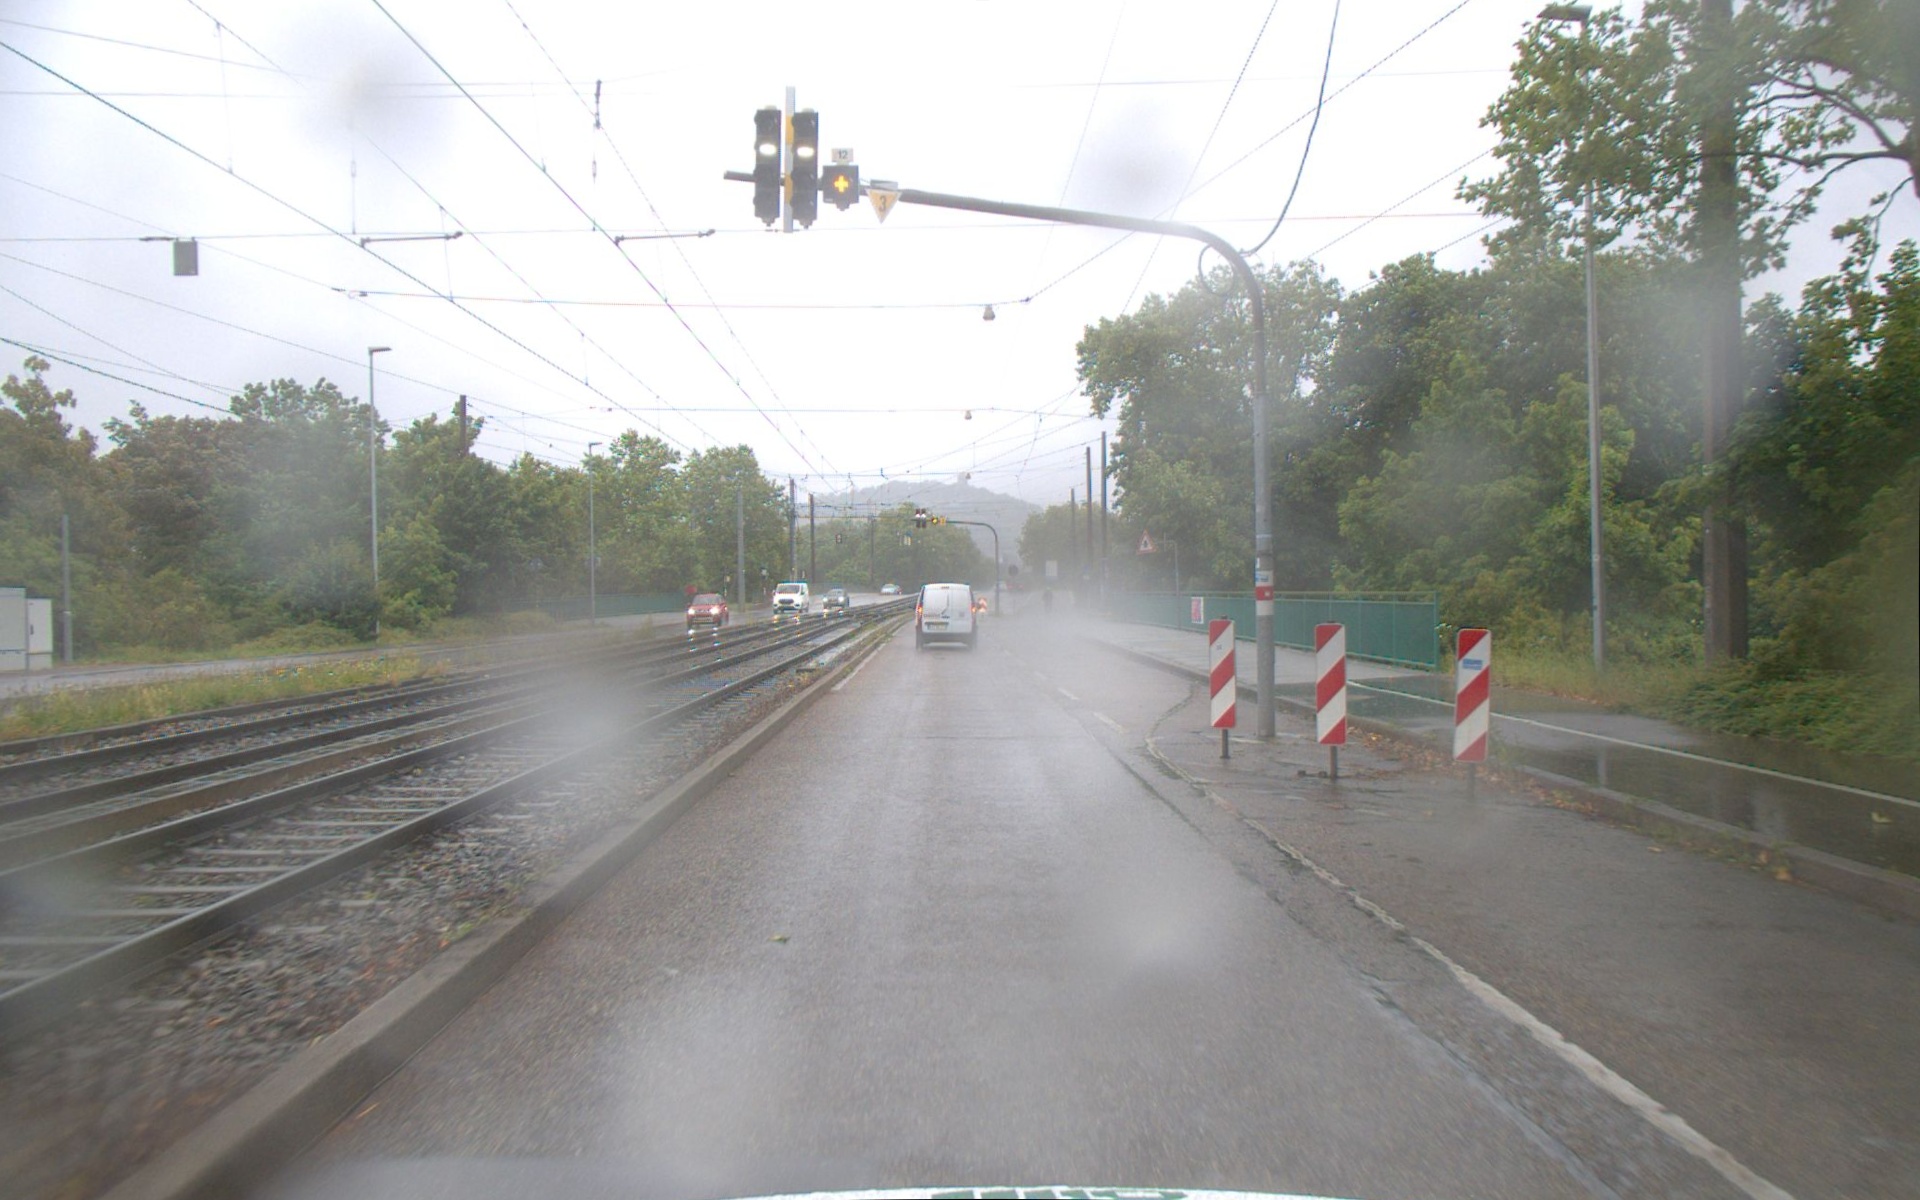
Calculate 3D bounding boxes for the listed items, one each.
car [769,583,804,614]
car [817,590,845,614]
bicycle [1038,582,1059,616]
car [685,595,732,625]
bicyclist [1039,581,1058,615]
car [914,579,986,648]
[{"bbox_3d":[-11.785,-0.106,112.675,1.952,2.049,4.000,0,-1,0],"label":"car"},{"bbox_3d":[-10.723,0.167,137.542,1.952,1.982,4.000,0,-1,0],"label":"car"},{"bbox_3d":[5.435,-0.063,101.474,1.083,2.049,3.050,0,-1,-1],"label":"bicycle"},{"bbox_3d":[-12.385,0.485,81.617,1.782,1.422,3.999,-1,0,-1],"label":"car"},{"bbox_3d":[5.445,-0.094,101.638,1.078,2.049,1.674,0,-1,-1],"label":"bicyclist"},{"bbox_3d":[-0.270,0.369,47.064,1.953,1.881,4.000,0,0,0],"label":"car"}]
